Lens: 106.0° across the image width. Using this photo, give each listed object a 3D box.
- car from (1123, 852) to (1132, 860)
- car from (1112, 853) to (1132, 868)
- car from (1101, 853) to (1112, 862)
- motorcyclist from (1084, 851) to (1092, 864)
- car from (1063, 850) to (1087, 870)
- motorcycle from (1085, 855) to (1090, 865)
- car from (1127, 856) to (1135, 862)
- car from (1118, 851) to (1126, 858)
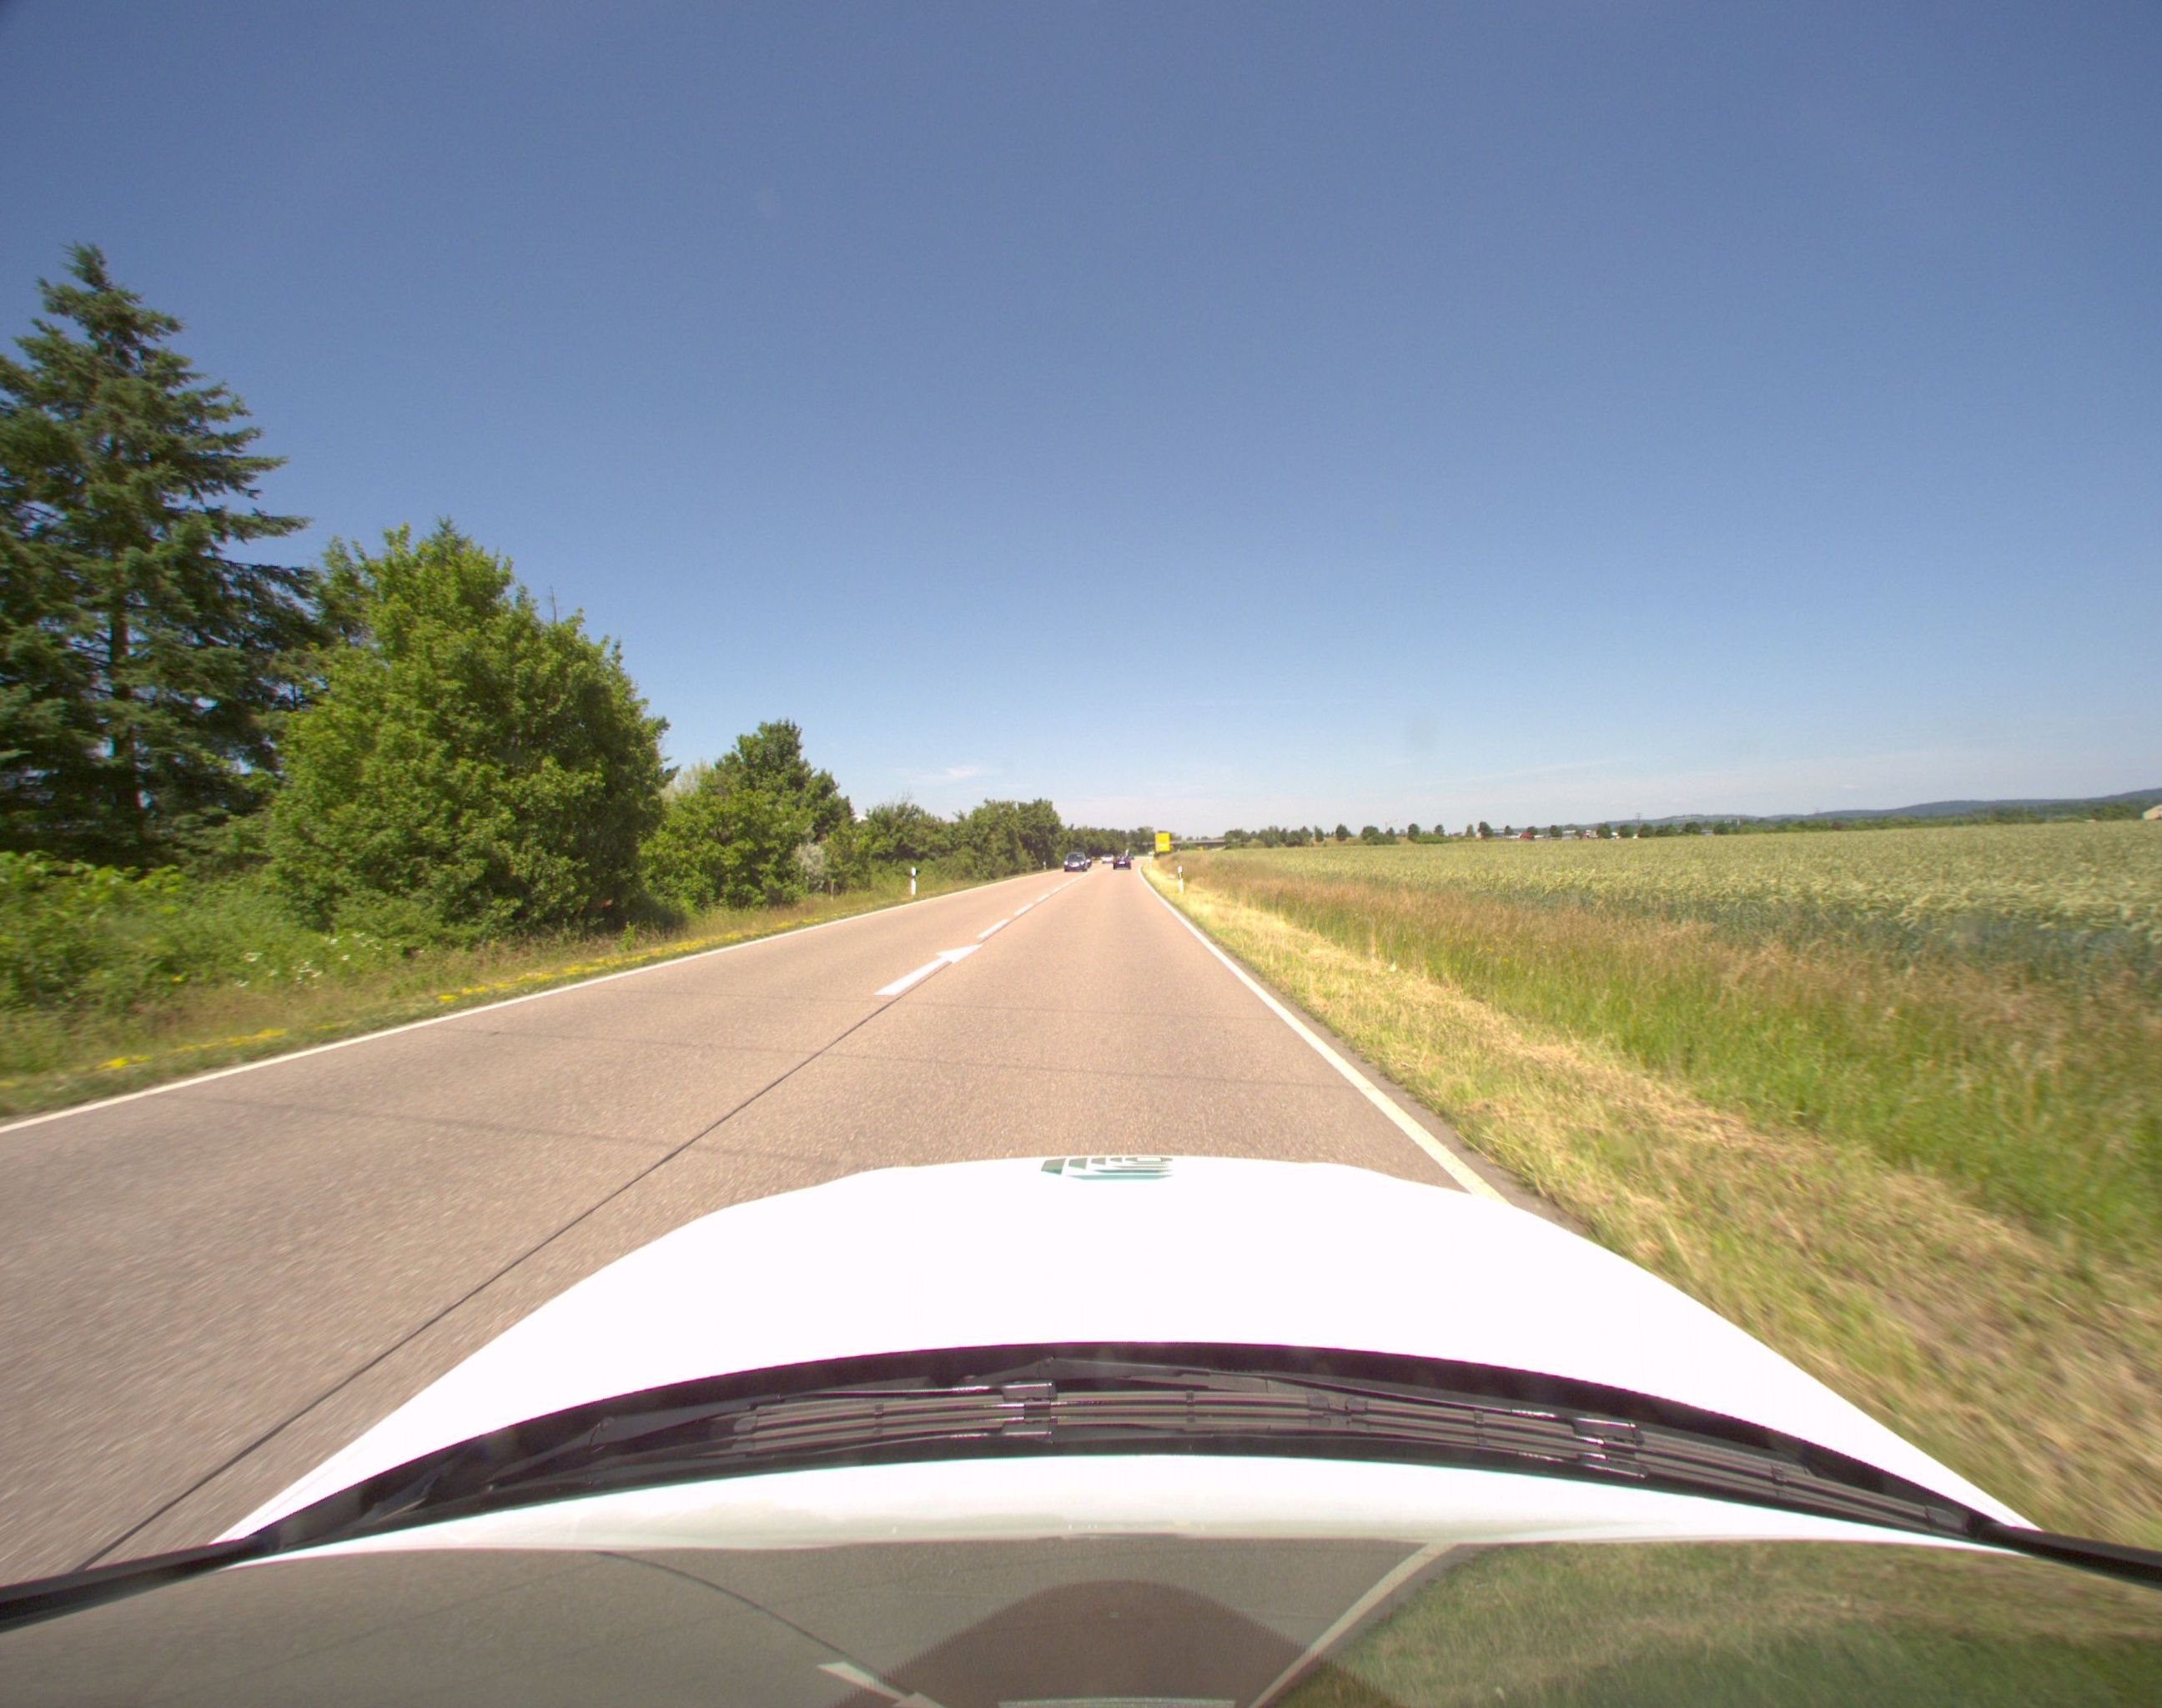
[{"bbox_3d":[10.840,0.433,190.308,1.984,2.013,4.006,0,0,5],"label":"car"},{"bbox_3d":[4.132,0.662,81.950,1.806,1.441,4.005,0,0,5],"label":"car"},{"bbox_3d":[4.129,0.541,130.229,1.700,1.381,3.823,-1,0,4],"label":"car"},{"bbox_3d":[0.734,0.409,90.793,0.832,1.474,1.818,-1,0,1],"label":"motorcyclist"},{"bbox_3d":[-0.456,0.490,72.667,1.811,1.701,5.005,-1,0,3],"label":"car"},{"bbox_3d":[0.731,0.690,90.900,0.615,1.108,2.023,-1,0,1],"label":"motorcycle"},{"bbox_3d":[11.753,1.208,191.344,1.498,1.329,3.408,0,-1,7],"label":"car"},{"bbox_3d":[8.416,0.196,168.585,1.590,1.442,4.004,0,0,4],"label":"car"}]
